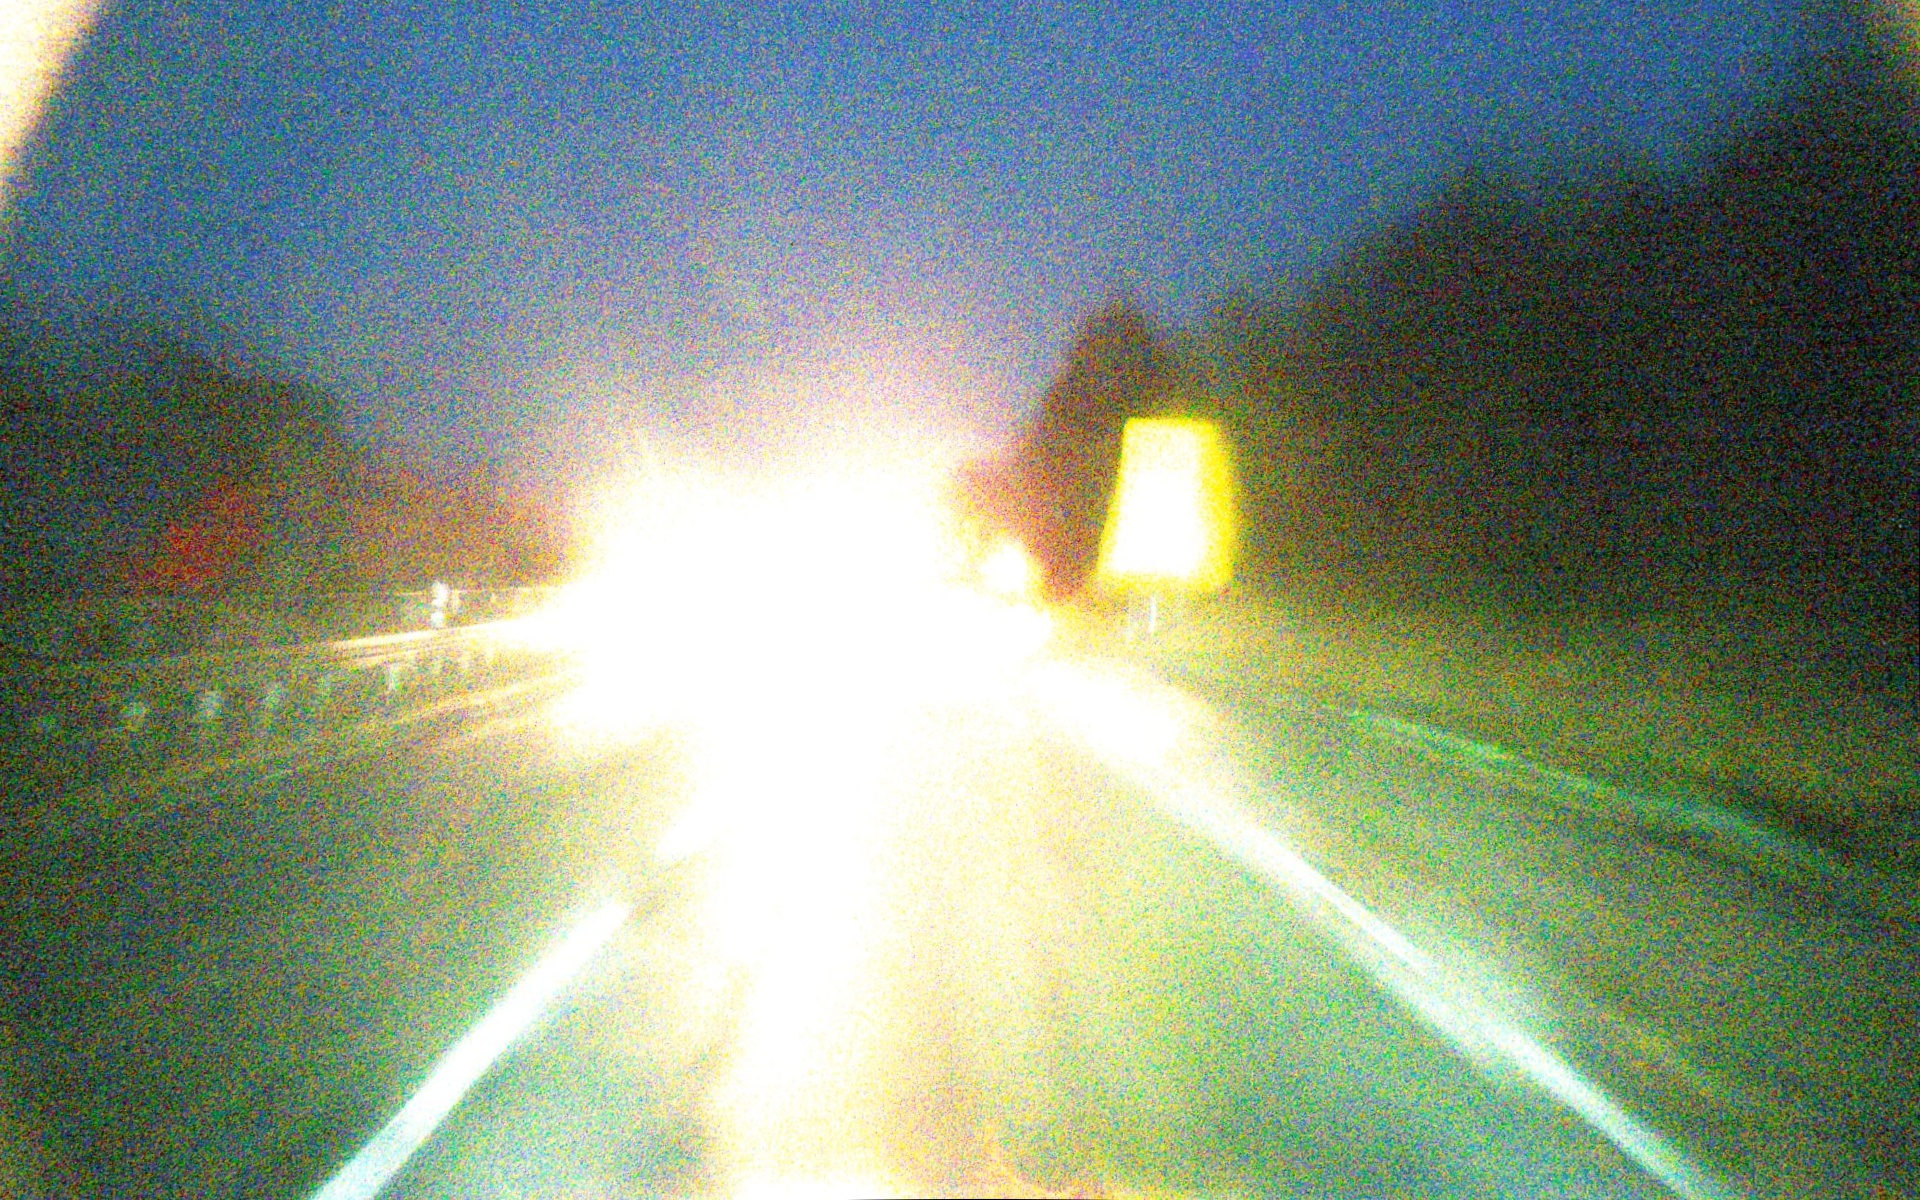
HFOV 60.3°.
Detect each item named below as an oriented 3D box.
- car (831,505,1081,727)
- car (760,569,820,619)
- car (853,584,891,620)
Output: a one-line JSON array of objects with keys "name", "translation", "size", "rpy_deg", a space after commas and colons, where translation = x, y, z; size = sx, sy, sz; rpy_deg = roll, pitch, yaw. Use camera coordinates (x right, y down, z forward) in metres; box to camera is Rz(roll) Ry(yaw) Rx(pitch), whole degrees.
[{"name": "car", "translation": [-0.225, 0.162, 20.830], "size": [2.662, 2.348, 6.096], "rpy_deg": [1, 0, -4]}, {"name": "car", "translation": [-5.883, -0.237, 57.692], "size": [1.825, 1.571, 4.227], "rpy_deg": [2, 2, -3]}, {"name": "car", "translation": [-4.902, 0.090, 92.726], "size": [1.953, 1.948, 3.999], "rpy_deg": [1, 0, -1]}]
